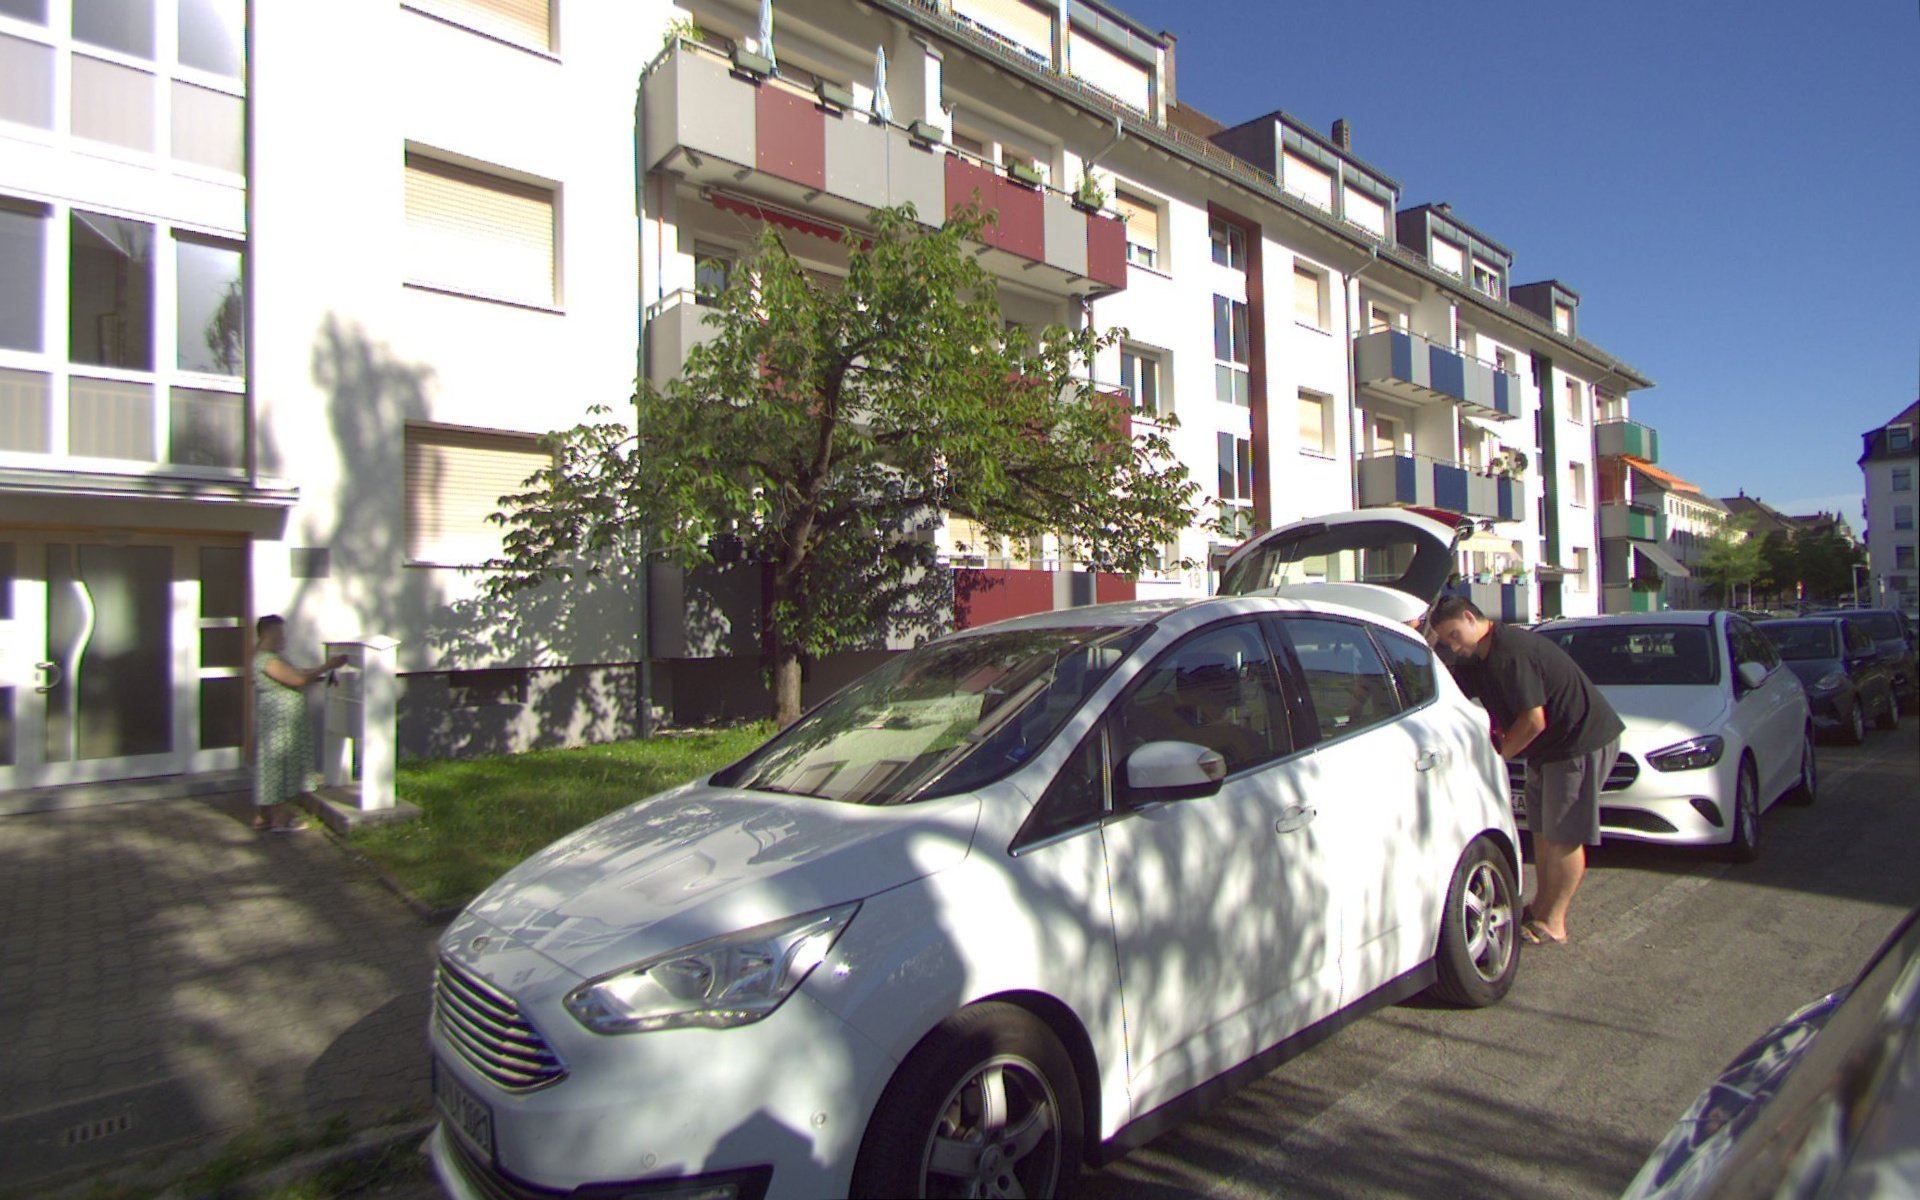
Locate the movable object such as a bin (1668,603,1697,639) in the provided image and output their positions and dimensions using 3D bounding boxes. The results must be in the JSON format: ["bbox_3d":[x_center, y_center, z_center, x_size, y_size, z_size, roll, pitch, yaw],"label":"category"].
[{"bbox_3d":[31.450,0.893,44.039,0.906,1.539,0.865,1,-1,-43],"label":"movable object such as a bin"}]

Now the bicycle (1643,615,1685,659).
[{"bbox_3d":[18.971,0.972,27.261,1.841,1.135,0.544,0,0,-42],"label":"bicycle"}]

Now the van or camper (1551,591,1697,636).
[{"bbox_3d":[39.445,0.758,60.321,2.138,2.532,6.978,0,-1,-39],"label":"van or camper"}]

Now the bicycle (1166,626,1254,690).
[{"bbox_3d":[4.476,1.000,18.034,1.940,1.050,0.521,0,0,-41],"label":"bicycle"}]

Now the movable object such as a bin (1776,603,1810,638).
[{"bbox_3d":[33.014,0.799,40.098,0.852,1.342,0.920,1,-1,-43],"label":"movable object such as a bin"}]

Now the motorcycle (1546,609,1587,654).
[{"bbox_3d":[17.538,0.889,29.258,1.942,1.254,0.442,0,-1,-42],"label":"motorcycle"}]

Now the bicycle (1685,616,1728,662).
[{"bbox_3d":[19.566,1.000,26.514,1.841,1.147,0.578,0,0,-42],"label":"bicycle"}]

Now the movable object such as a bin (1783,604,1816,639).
[{"bbox_3d":[33.916,0.853,40.896,0.852,1.416,0.920,1,-1,-43],"label":"movable object such as a bin"}]

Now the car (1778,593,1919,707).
[{"bbox_3d":[14.525,0.700,16.093,4.278,1.598,1.725,0,-1,-42],"label":"car"}]

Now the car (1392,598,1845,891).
[{"bbox_3d":[5.045,0.785,7.469,4.405,1.524,1.773,0,-2,-43],"label":"car"}]

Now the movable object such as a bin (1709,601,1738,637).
[{"bbox_3d":[32.327,0.797,42.828,0.864,1.466,0.907,-1,-1,45],"label":"movable object such as a bin"}]

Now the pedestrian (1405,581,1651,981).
[{"bbox_3d":[2.585,0.721,4.609,0.864,1.595,0.740,1,-1,-41],"label":"pedestrian"}]

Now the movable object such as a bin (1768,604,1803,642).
[{"bbox_3d":[32.076,0.882,39.312,0.852,1.466,0.920,1,-1,-43],"label":"movable object such as a bin"}]

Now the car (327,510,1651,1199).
[{"bbox_3d":[0.597,0.734,3.851,4.905,1.634,1.997,0,-3,-39],"label":"car"}]

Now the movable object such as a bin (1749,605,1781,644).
[{"bbox_3d":[30.786,0.931,38.687,0.864,1.466,0.907,-1,-1,45],"label":"movable object such as a bin"}]

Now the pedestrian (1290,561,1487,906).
[{"bbox_3d":[2.331,0.662,5.529,0.594,1.709,0.821,1,-1,-41],"label":"pedestrian"}]

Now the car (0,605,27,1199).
[{"bbox_3d":[-3.154,0.785,0.496,3.916,1.511,1.695,0,-3,-42],"label":"car"}]

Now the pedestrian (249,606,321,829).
[{"bbox_3d":[-4.801,0.806,7.195,0.354,1.514,0.451,-1,0,-40],"label":"pedestrian"}]

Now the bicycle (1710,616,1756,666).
[{"bbox_3d":[19.481,1.018,25.485,1.840,1.185,0.545,0,0,-40],"label":"bicycle"}]

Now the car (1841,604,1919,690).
[{"bbox_3d":[18.460,0.859,19.505,3.787,1.529,1.714,0,-4,-42],"label":"car"}]

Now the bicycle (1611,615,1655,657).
[{"bbox_3d":[18.485,0.971,27.789,1.841,1.096,0.539,0,1,-42],"label":"bicycle"}]

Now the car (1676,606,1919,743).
[{"bbox_3d":[10.824,0.854,12.934,3.987,1.468,1.650,0,-3,-39],"label":"car"}]

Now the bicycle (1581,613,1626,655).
[{"bbox_3d":[18.056,0.943,28.380,1.841,1.130,0.597,0,-1,-42],"label":"bicycle"}]

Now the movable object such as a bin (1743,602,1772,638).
[{"bbox_3d":[33.160,0.834,42.082,0.864,1.466,0.907,-1,-1,45],"label":"movable object such as a bin"}]

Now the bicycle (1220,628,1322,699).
[{"bbox_3d":[5.236,1.024,16.947,2.248,1.062,0.521,0,1,-41],"label":"bicycle"}]

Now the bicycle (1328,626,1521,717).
[{"bbox_3d":[6.643,0.978,14.635,0.862,1.144,2.431,0,-1,-35],"label":"bicycle"}]
